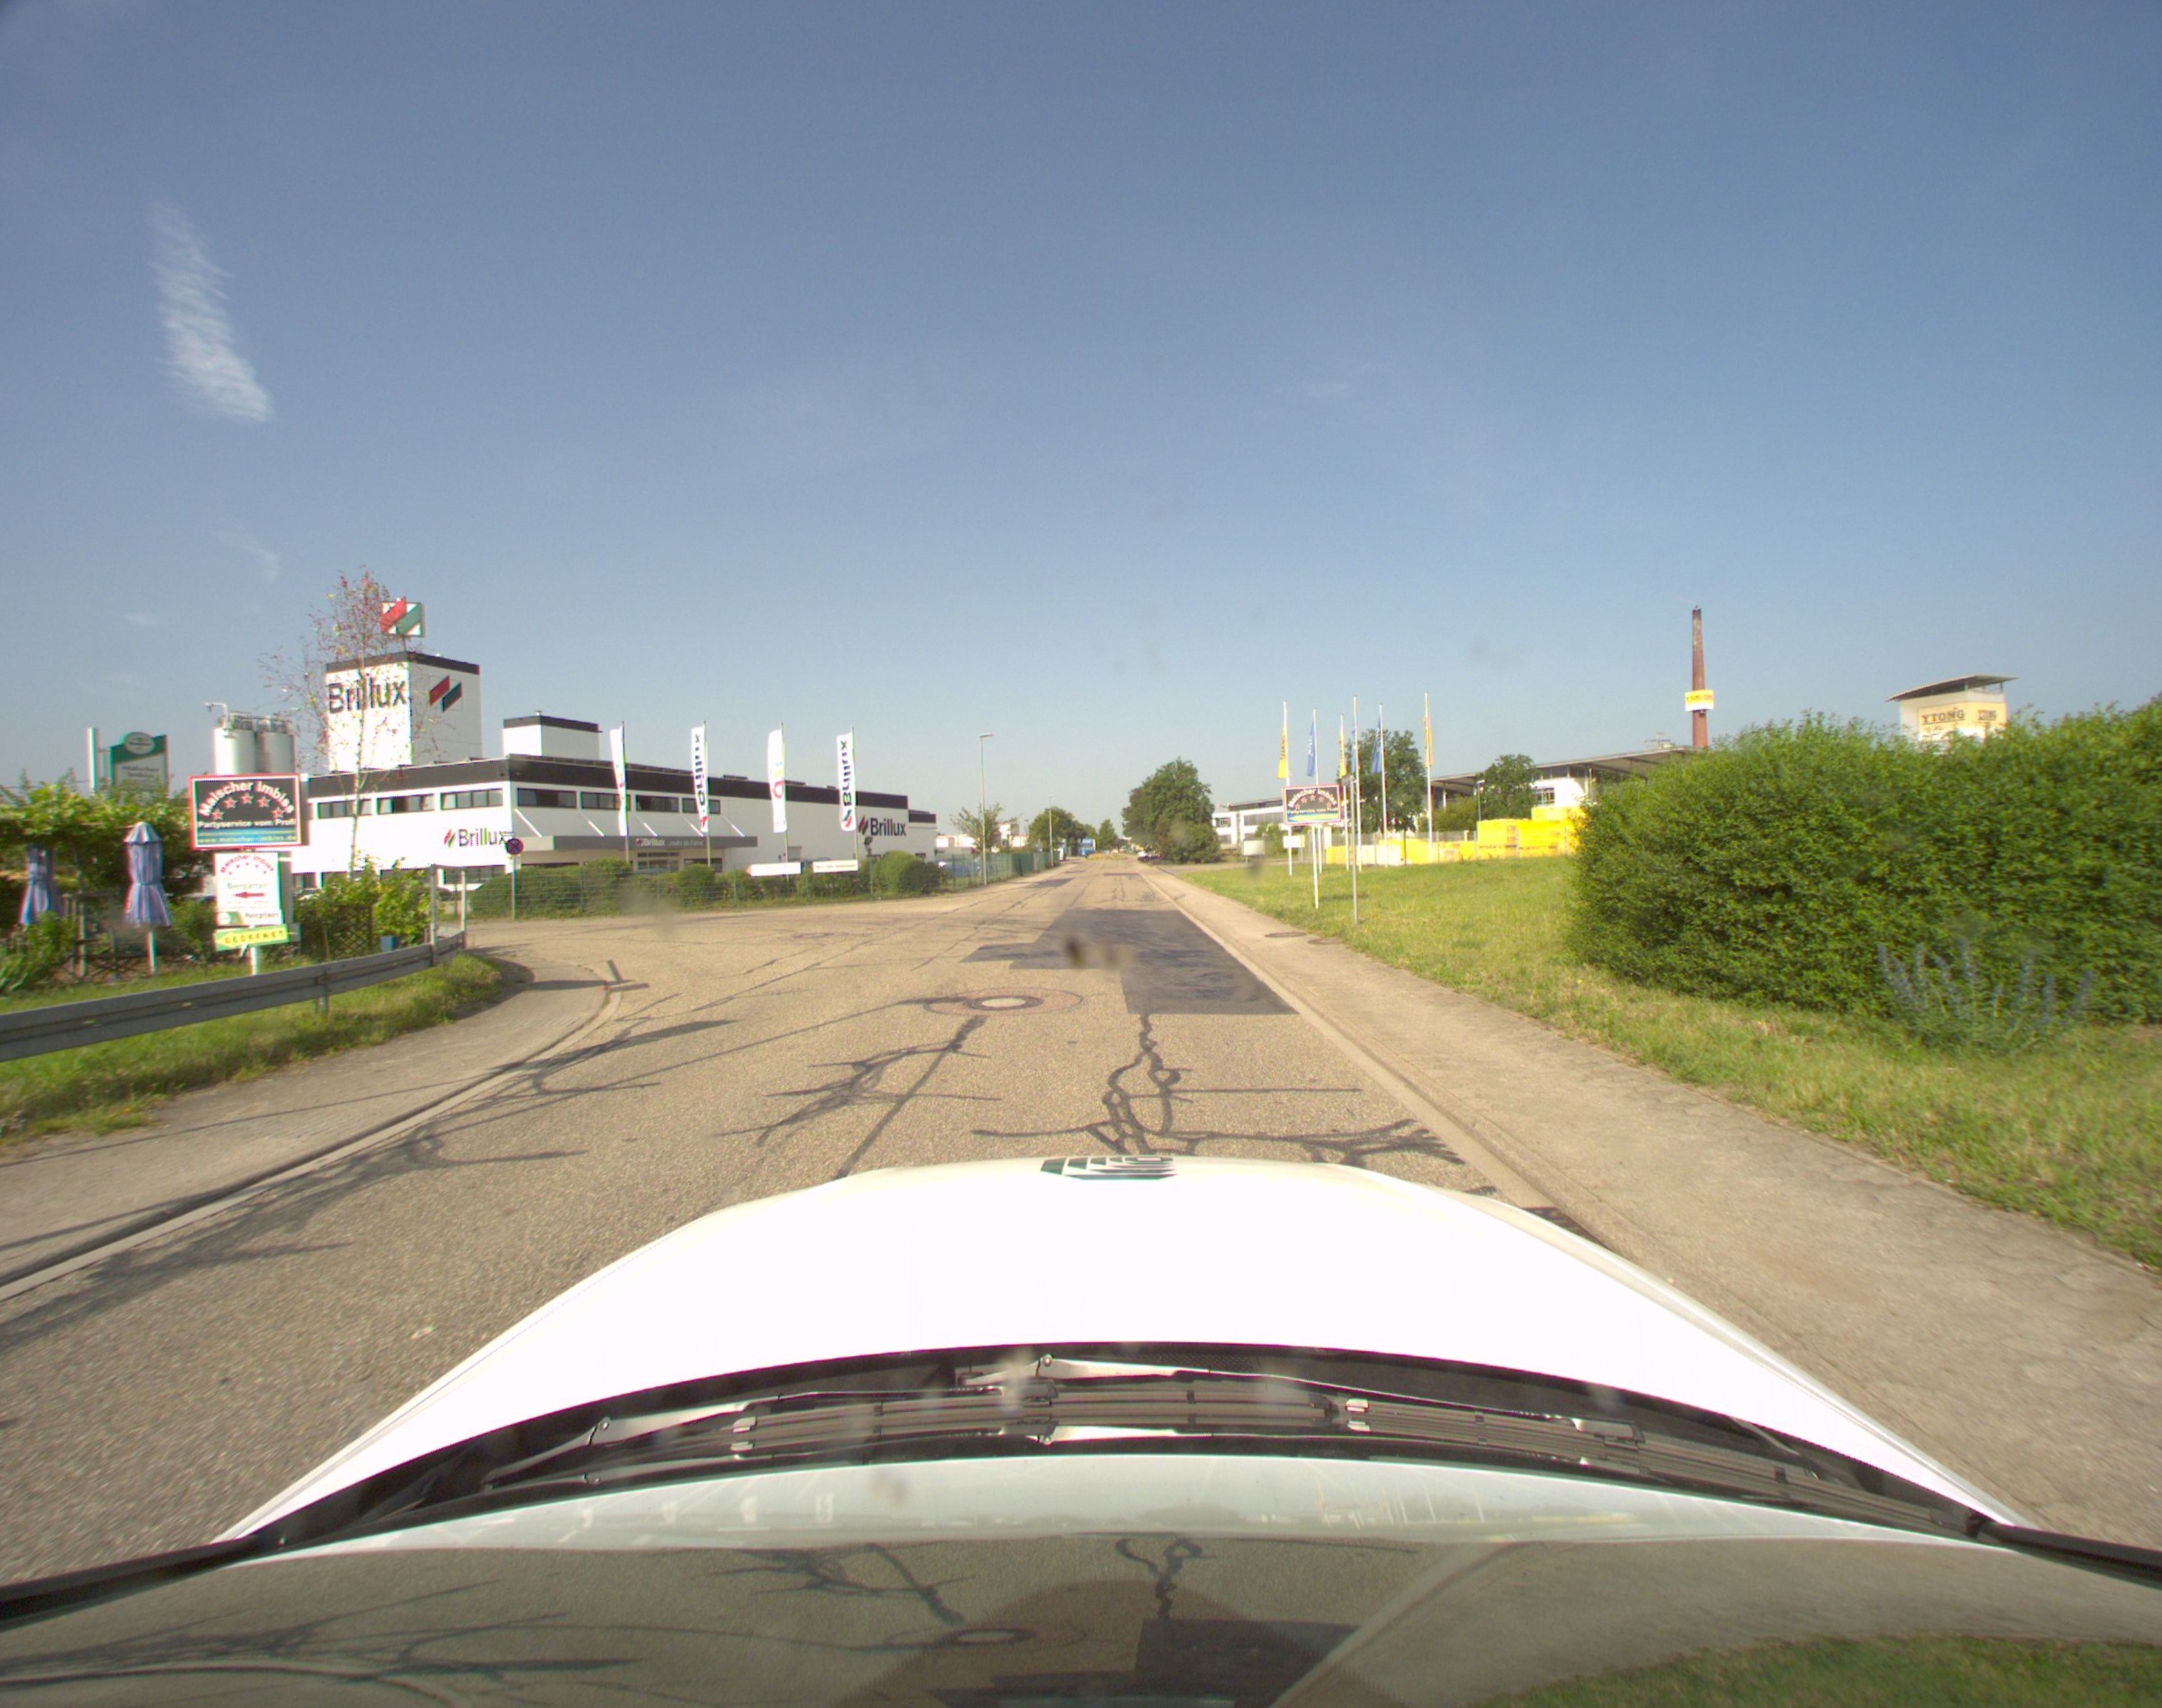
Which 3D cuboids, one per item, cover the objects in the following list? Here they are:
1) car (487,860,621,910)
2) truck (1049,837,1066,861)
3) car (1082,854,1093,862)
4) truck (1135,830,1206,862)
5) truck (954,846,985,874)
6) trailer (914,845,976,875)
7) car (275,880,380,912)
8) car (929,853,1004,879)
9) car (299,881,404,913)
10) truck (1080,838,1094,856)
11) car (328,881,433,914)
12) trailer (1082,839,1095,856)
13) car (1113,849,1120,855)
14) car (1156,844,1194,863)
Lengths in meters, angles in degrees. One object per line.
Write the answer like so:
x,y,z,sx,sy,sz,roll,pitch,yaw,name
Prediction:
-20.871,1.229,32.252,4.608,1.752,2.164,-2,0,23,car
-3.956,-0.808,138.851,2.699,3.922,4.298,0,-1,2,truck
1.236,0.753,156.494,1.987,1.449,4.420,-4,0,1,car
10.773,-0.916,98.566,8.179,3.370,2.741,-3,-1,1,truck
-16.599,0.853,121.357,2.493,4.071,5.568,0,-1,17,truck
-18.834,0.867,114.411,2.462,4.041,13.952,0,-1,18,trailer
-49.285,2.724,53.469,1.986,1.702,5.064,-3,0,2,car
-7.759,0.820,55.312,4.669,1.444,2.079,-4,0,1,car
-46.955,2.725,52.594,1.986,1.702,5.064,-3,0,2,car
1.460,-1.551,182.957,2.814,3.826,9.677,0,-1,2,truck
-43.918,2.681,51.232,1.986,1.702,5.064,-3,0,2,car
1.823,-1.433,192.983,2.820,3.843,12.041,0,-1,2,trailer
10.502,-0.678,240.730,1.712,1.661,3.823,0,-1,1,car
10.146,-0.040,87.931,3.970,1.838,2.002,-3,0,3,car
